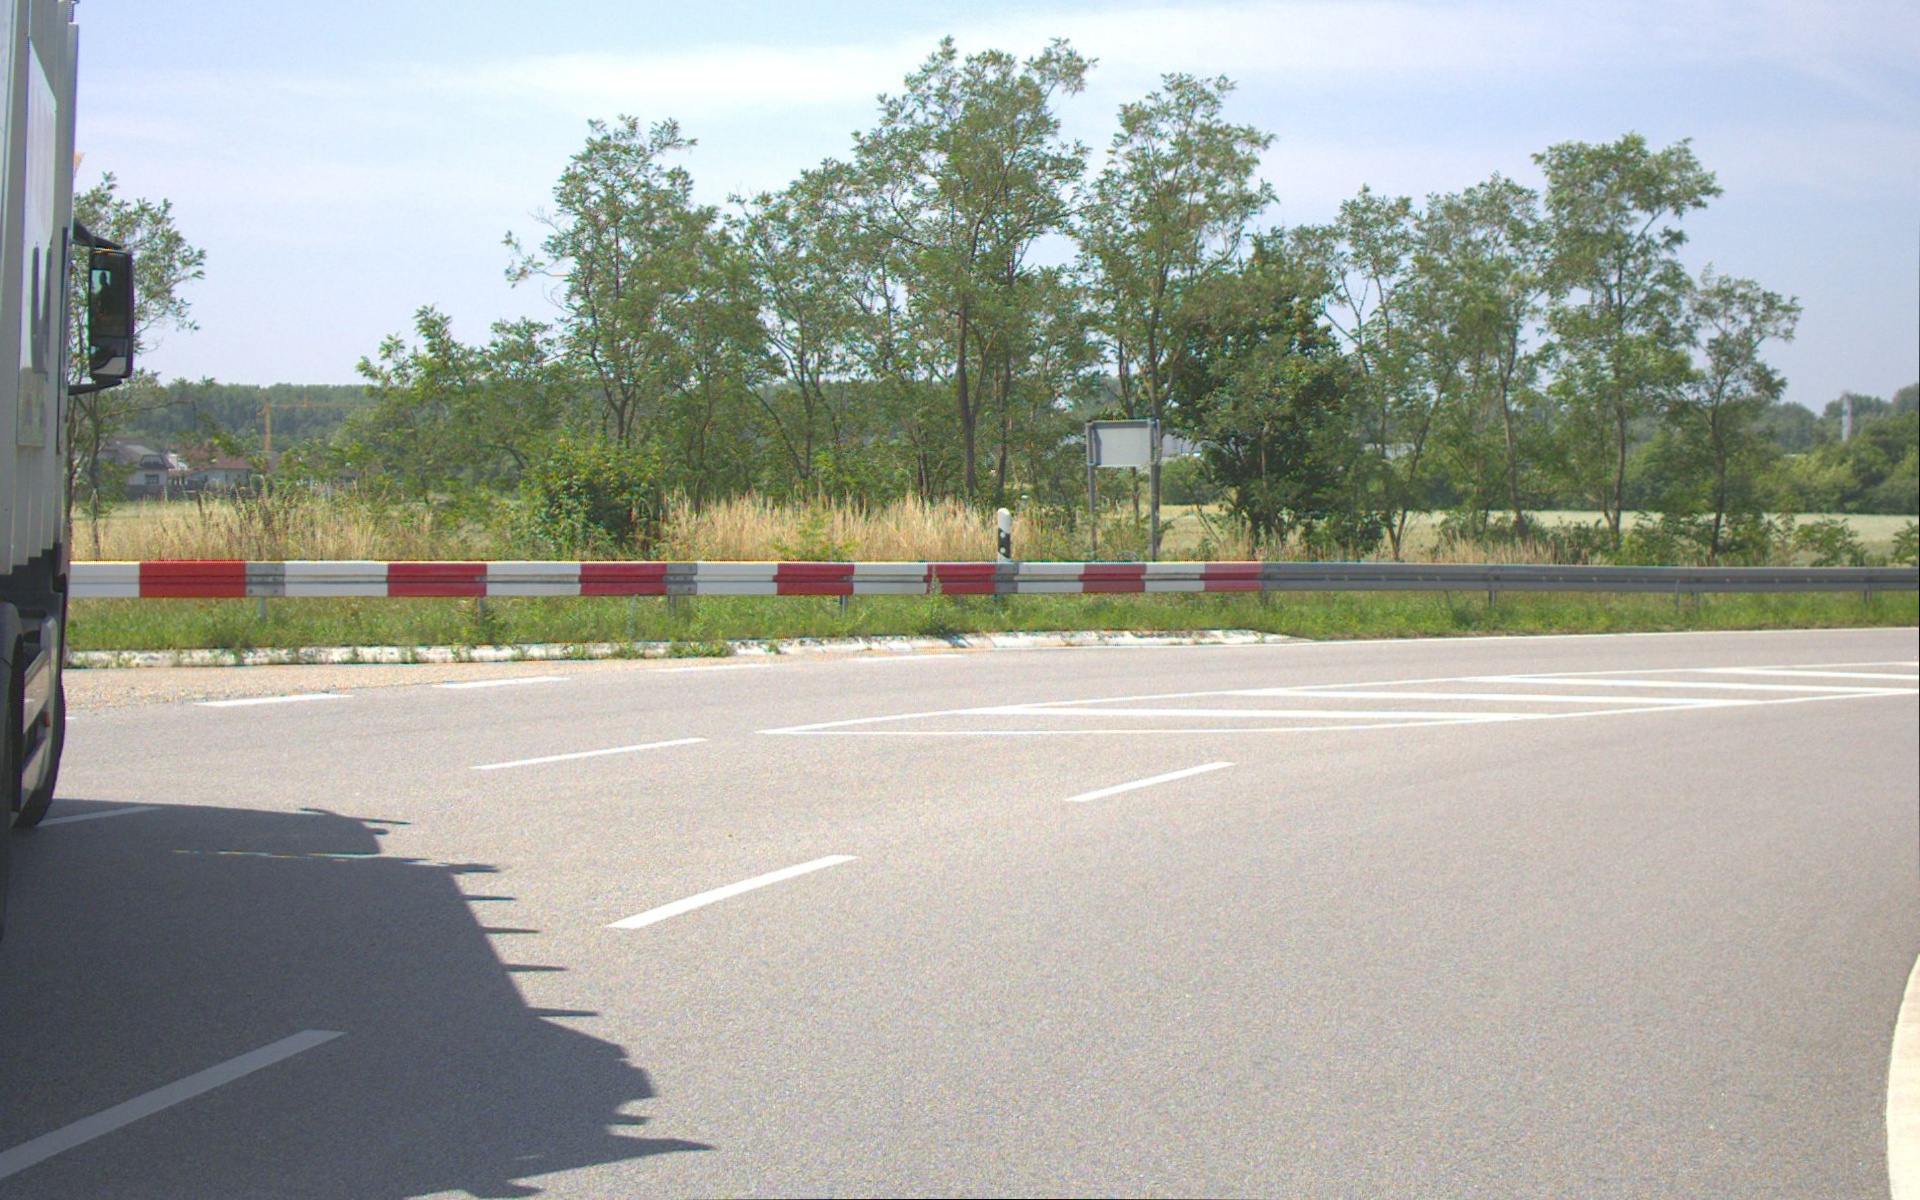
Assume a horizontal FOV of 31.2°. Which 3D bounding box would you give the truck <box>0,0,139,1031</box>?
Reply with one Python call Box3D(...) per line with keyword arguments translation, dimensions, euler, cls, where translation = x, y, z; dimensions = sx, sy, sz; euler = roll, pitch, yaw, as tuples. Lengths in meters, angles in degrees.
Box3D(translation=(-4.427, -0.780, 11.490), dimensions=(2.812, 3.656, 9.952), euler=(2, 2, -11), cls="truck")
